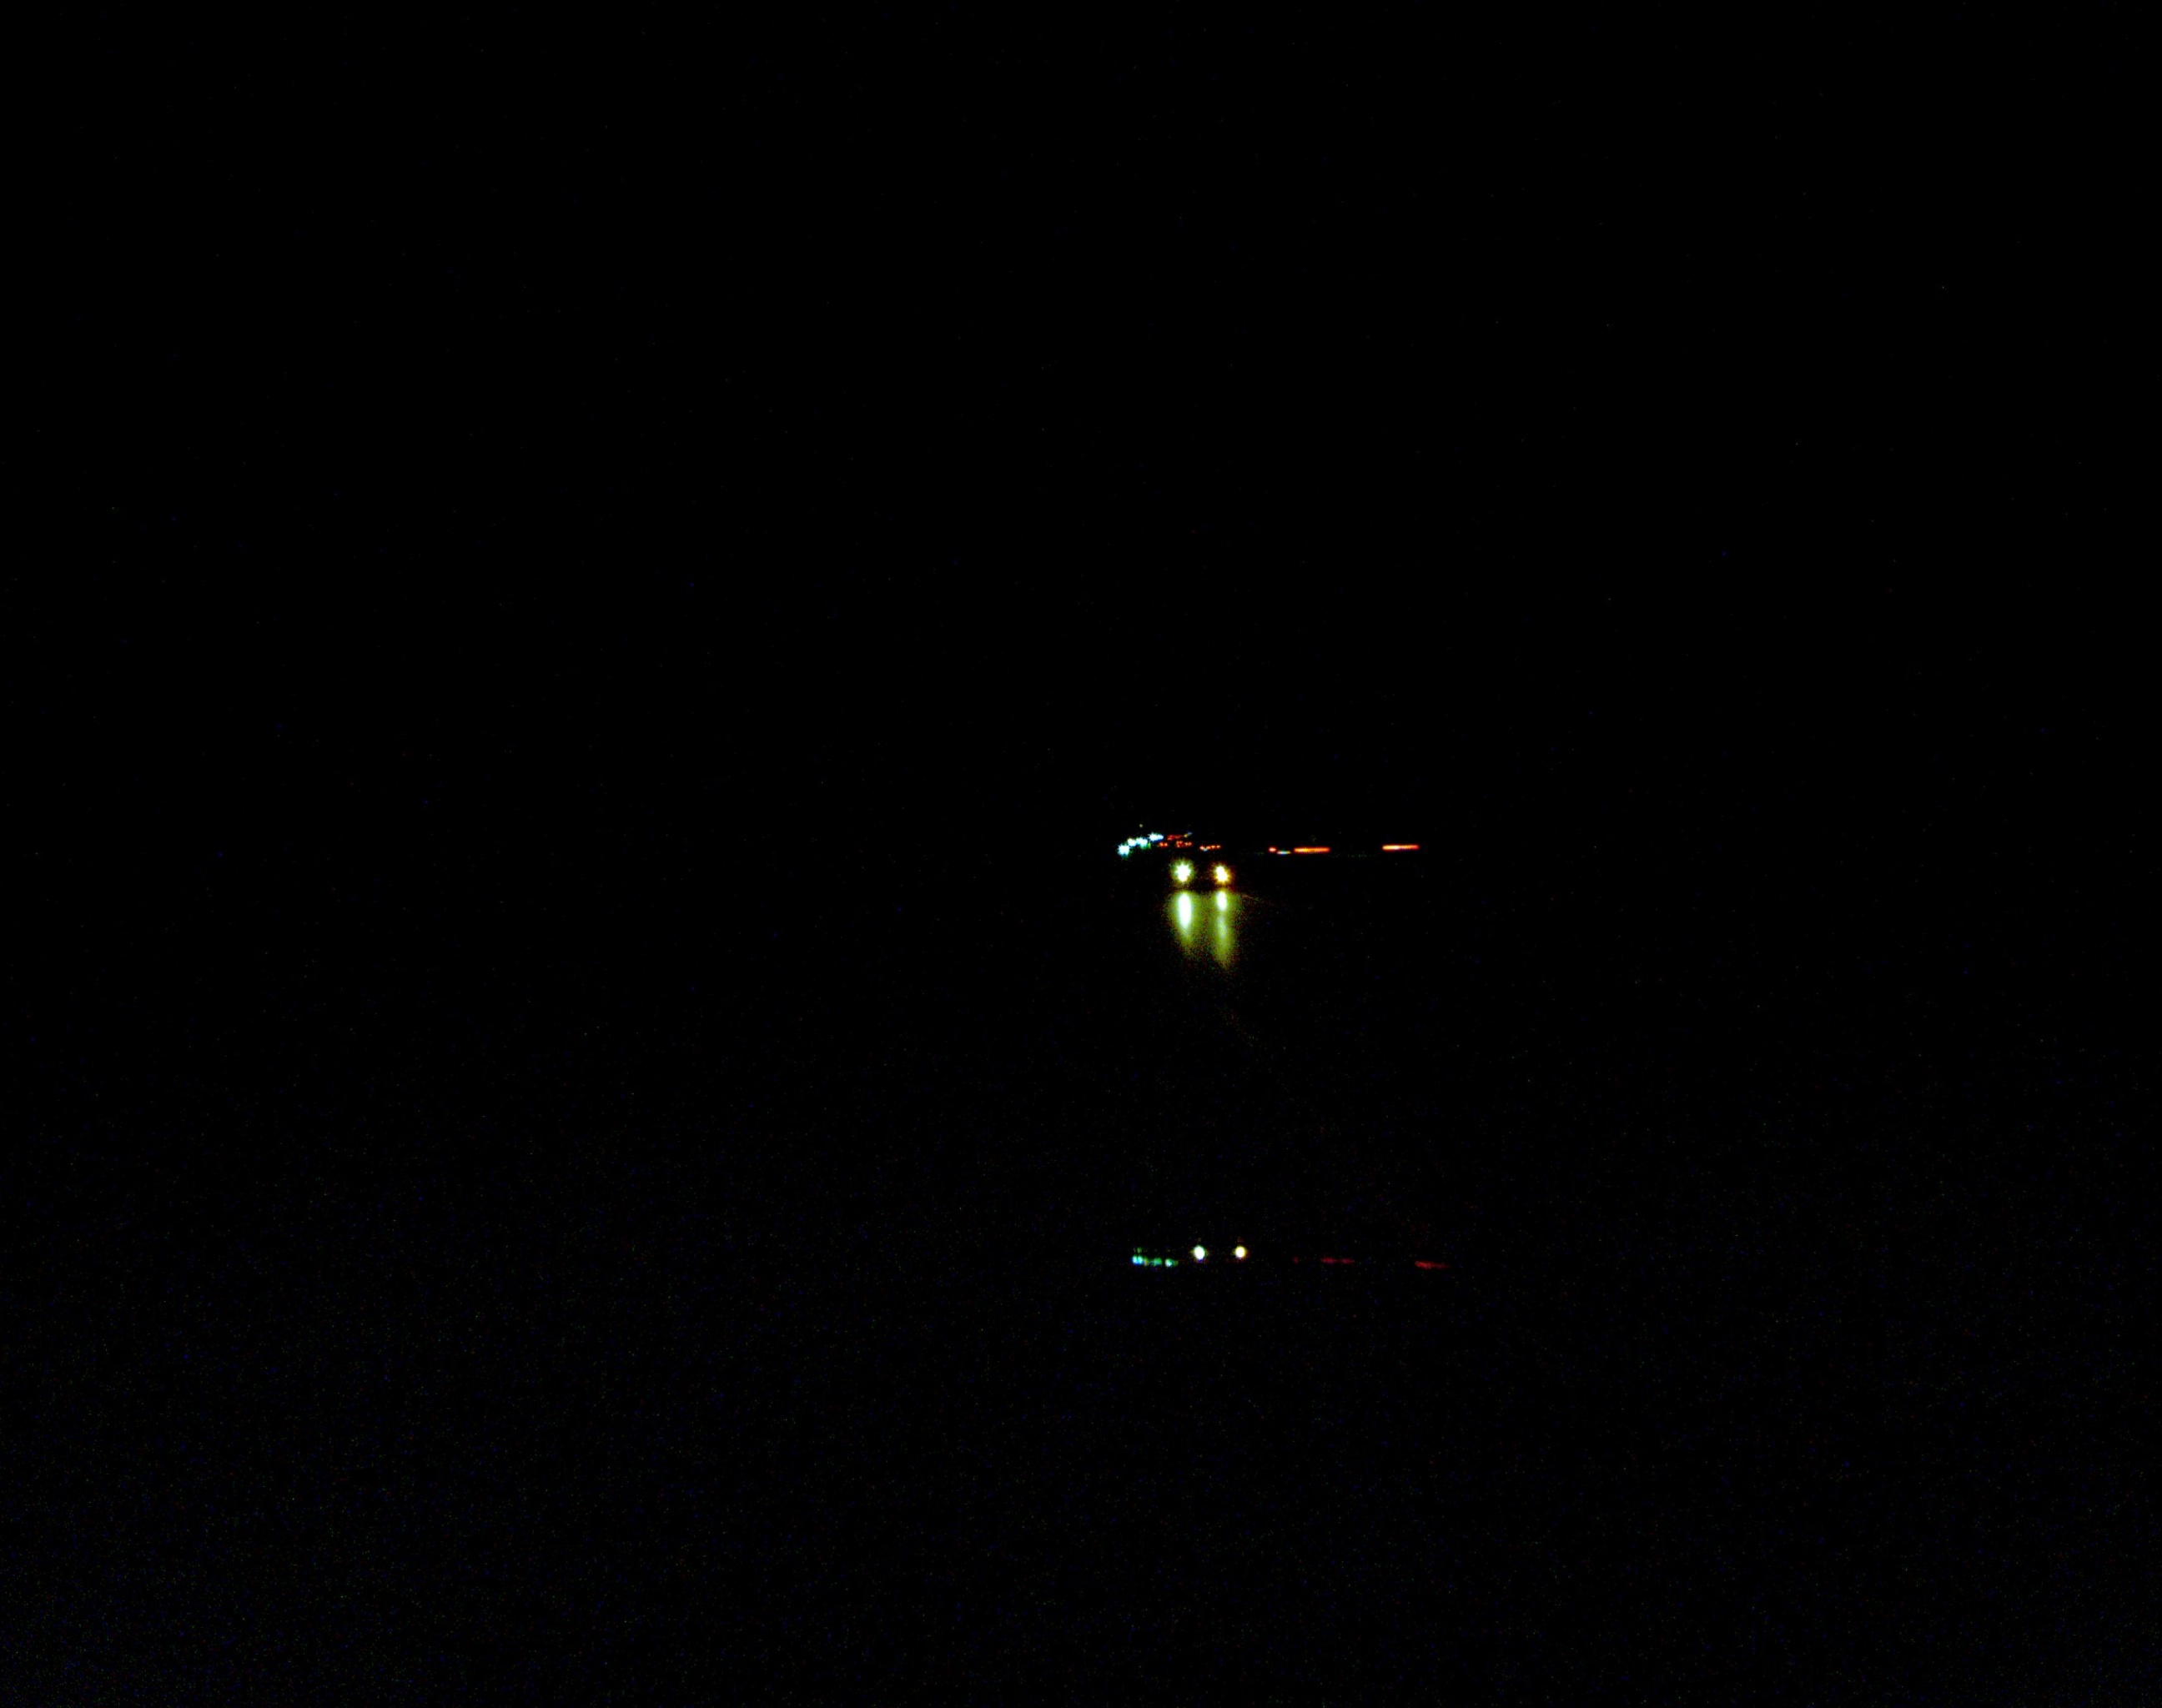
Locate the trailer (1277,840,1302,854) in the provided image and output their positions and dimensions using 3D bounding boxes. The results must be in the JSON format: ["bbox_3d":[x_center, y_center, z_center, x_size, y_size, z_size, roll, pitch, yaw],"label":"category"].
[{"bbox_3d":[25.499,-0.855,92.945,2.189,1.472,3.129,-3,1,2],"label":"trailer"}]

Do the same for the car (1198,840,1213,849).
[{"bbox_3d":[24.504,-1.864,149.889,2.124,1.547,5.108,-3,1,1],"label":"car"}]

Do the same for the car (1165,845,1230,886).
[{"bbox_3d":[4.840,0.500,32.346,1.998,1.509,5.652,-3,-1,1],"label":"car"}]

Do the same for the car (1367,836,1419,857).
[{"bbox_3d":[24.541,-0.612,59.991,2.124,1.547,5.108,-3,1,1],"label":"car"}]

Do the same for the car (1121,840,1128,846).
[{"bbox_3d":[12.633,-3.211,220.733,1.998,1.653,4.000,-2,1,4],"label":"car"}]

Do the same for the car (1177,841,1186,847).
[{"bbox_3d":[28.525,-2.909,215.916,2.124,1.687,5.108,-3,1,1],"label":"car"}]

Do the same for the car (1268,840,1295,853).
[{"bbox_3d":[25.617,-0.921,97.114,2.189,1.472,5.242,-3,1,2],"label":"car"}]

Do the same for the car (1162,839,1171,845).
[{"bbox_3d":[27.681,-3.849,246.323,2.124,1.711,5.626,-3,1,1],"label":"car"}]

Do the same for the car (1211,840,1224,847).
[{"bbox_3d":[30.171,-2.367,168.357,2.123,1.547,5.109,-3,1,2],"label":"car"}]

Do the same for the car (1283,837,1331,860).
[{"bbox_3d":[16.891,-0.438,56.973,2.124,1.547,5.108,-3,1,1],"label":"car"}]
